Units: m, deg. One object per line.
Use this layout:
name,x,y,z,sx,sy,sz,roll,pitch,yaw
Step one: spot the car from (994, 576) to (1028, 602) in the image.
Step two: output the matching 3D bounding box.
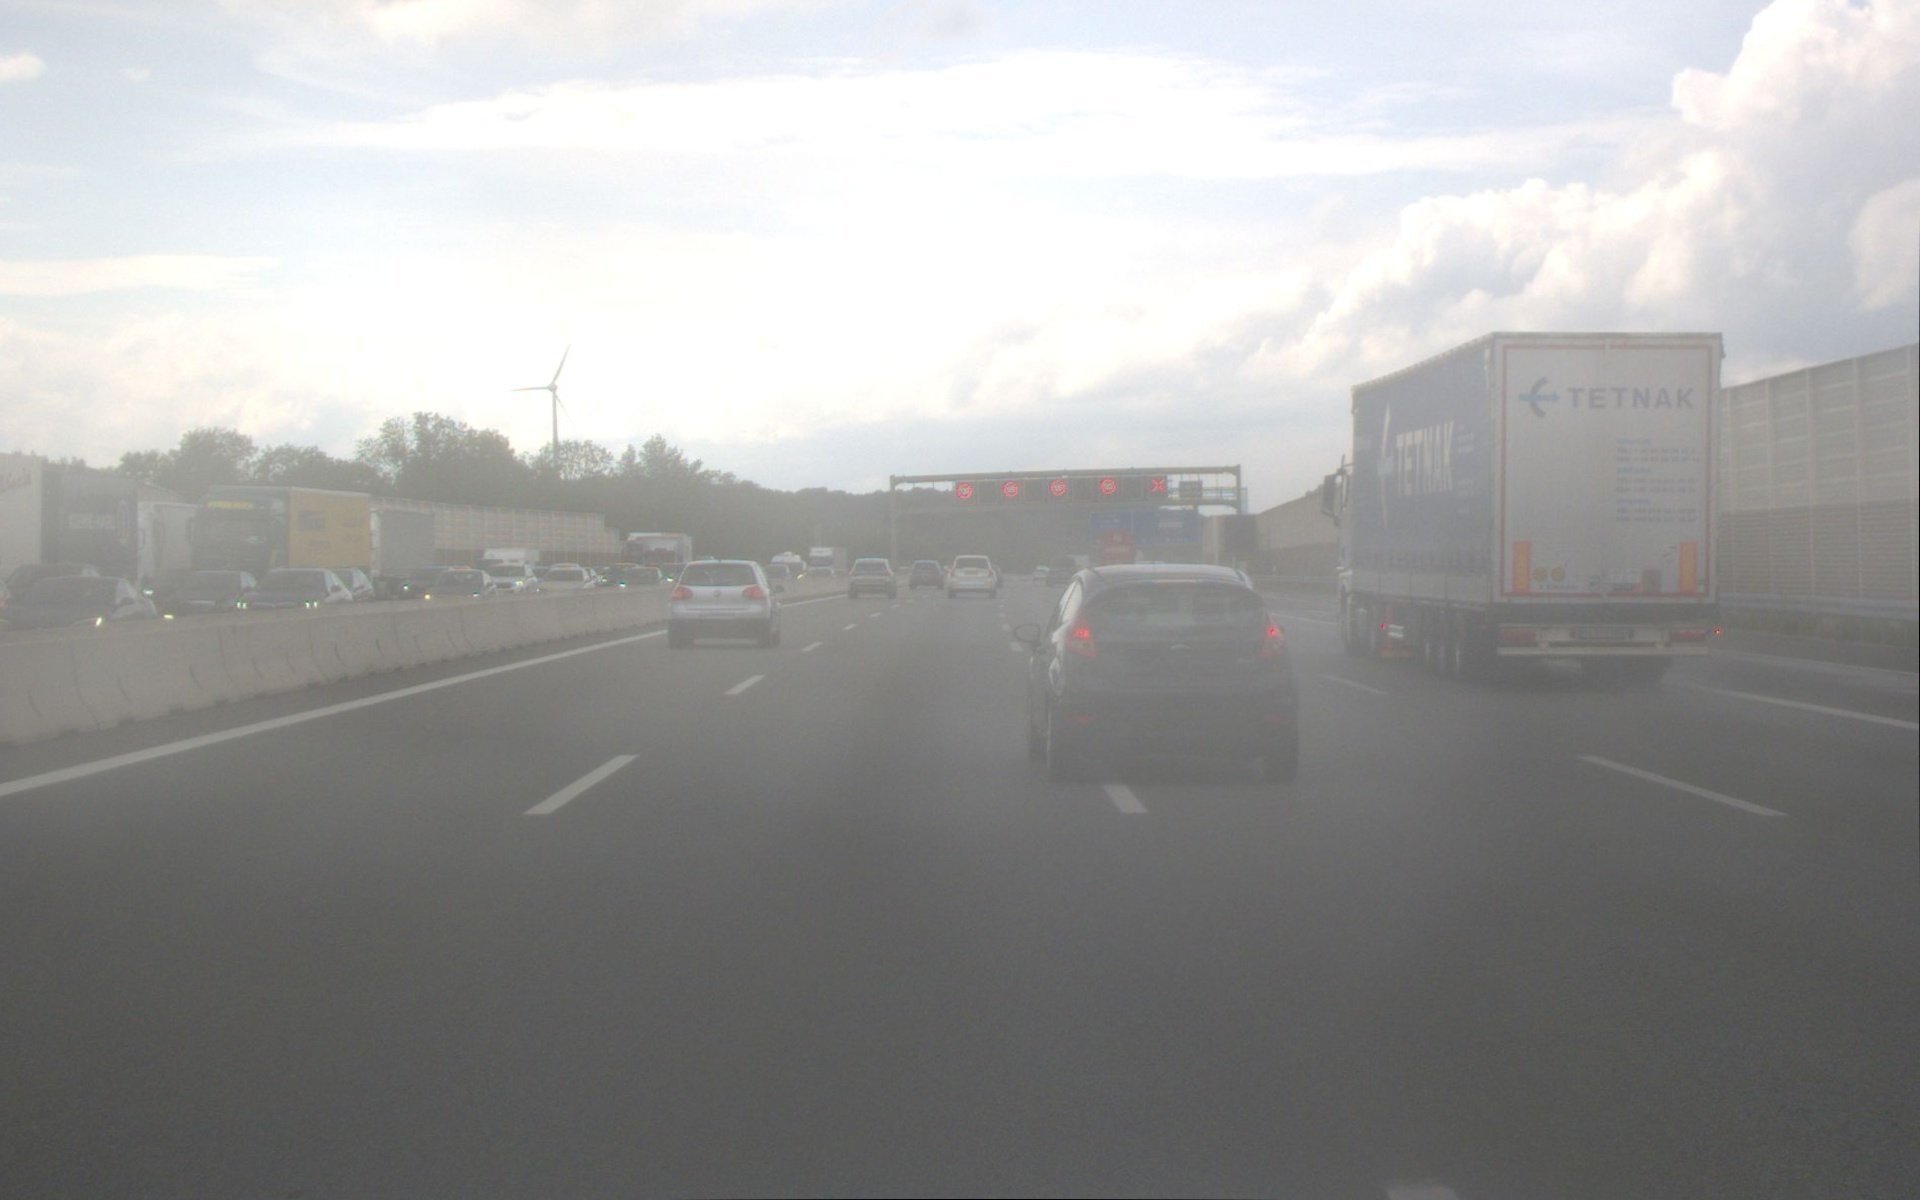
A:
car,3.148,-0.664,211.561,1.968,1.555,4.432,-1,0,2

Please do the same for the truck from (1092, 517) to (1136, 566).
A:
truck,11.604,-4.339,258.191,3.153,3.589,12.698,1,1,3

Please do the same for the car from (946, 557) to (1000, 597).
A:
car,0.564,-0.943,141.577,1.968,1.555,4.432,-1,0,3

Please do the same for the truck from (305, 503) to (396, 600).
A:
truck,-25.835,-2.052,145.914,2.745,4.021,5.726,0,0,1

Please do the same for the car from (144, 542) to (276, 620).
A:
car,-18.682,-0.507,85.897,2.061,1.886,5.808,0,1,-1

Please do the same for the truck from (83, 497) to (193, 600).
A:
truck,-32.734,-2.044,137.109,2.917,4.021,5.726,0,0,1

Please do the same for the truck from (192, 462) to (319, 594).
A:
truck,-21.937,-2.205,107.312,2.745,4.021,5.726,0,0,0

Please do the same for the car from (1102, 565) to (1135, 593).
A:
car,9.523,-1.254,206.528,1.883,1.555,4.432,-1,0,3

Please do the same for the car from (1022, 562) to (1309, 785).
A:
car,1.363,0.451,24.264,1.717,1.412,4.278,0,1,-1

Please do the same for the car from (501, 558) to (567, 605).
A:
car,-16.967,-0.763,137.162,2.061,1.810,4.779,0,1,-1

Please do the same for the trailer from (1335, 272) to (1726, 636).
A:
trailer,7.100,-1.675,45.255,2.761,4.018,14.453,0,0,0

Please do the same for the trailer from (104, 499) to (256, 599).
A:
trailer,-32.613,-2.099,144.418,2.935,4.018,13.860,0,0,1

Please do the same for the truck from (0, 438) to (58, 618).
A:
truck,-22.452,-1.542,74.061,2.937,3.932,11.066,0,1,1

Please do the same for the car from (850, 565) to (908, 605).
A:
car,-3.277,-0.597,139.509,1.968,1.555,4.432,-1,0,3

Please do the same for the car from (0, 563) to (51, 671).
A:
car,-18.970,0.318,64.992,2.061,1.995,5.808,0,1,-1

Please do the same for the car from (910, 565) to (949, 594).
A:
car,-1.738,-1.178,198.255,1.968,1.555,4.432,-1,0,3

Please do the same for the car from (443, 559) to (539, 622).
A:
car,-13.646,-0.299,100.411,2.061,1.749,5.808,0,1,-1

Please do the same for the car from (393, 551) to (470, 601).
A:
car,-18.441,-0.858,120.144,2.061,1.694,4.411,0,1,-1

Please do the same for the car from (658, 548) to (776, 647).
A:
car,-4.120,-0.075,58.823,1.717,1.618,4.278,0,1,0

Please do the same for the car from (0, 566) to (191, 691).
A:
car,-14.753,0.431,58.743,2.061,1.995,5.808,0,1,-2

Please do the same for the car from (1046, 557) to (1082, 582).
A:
car,6.769,-1.987,223.574,1.968,1.555,4.432,0,1,6

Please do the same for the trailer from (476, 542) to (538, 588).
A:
trailer,-24.793,-1.921,188.373,2.459,2.487,6.085,0,1,1

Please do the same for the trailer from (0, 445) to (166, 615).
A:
trailer,-22.277,-1.692,84.636,2.931,3.926,10.119,0,1,1

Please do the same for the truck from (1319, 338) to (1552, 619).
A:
truck,7.109,-1.765,52.074,2.745,4.021,5.726,0,0,0

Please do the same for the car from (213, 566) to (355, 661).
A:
car,-14.969,0.252,76.422,2.061,1.995,5.808,0,1,-1

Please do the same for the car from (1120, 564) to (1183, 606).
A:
car,6.669,-0.515,120.199,1.950,1.413,4.232,-1,0,0
